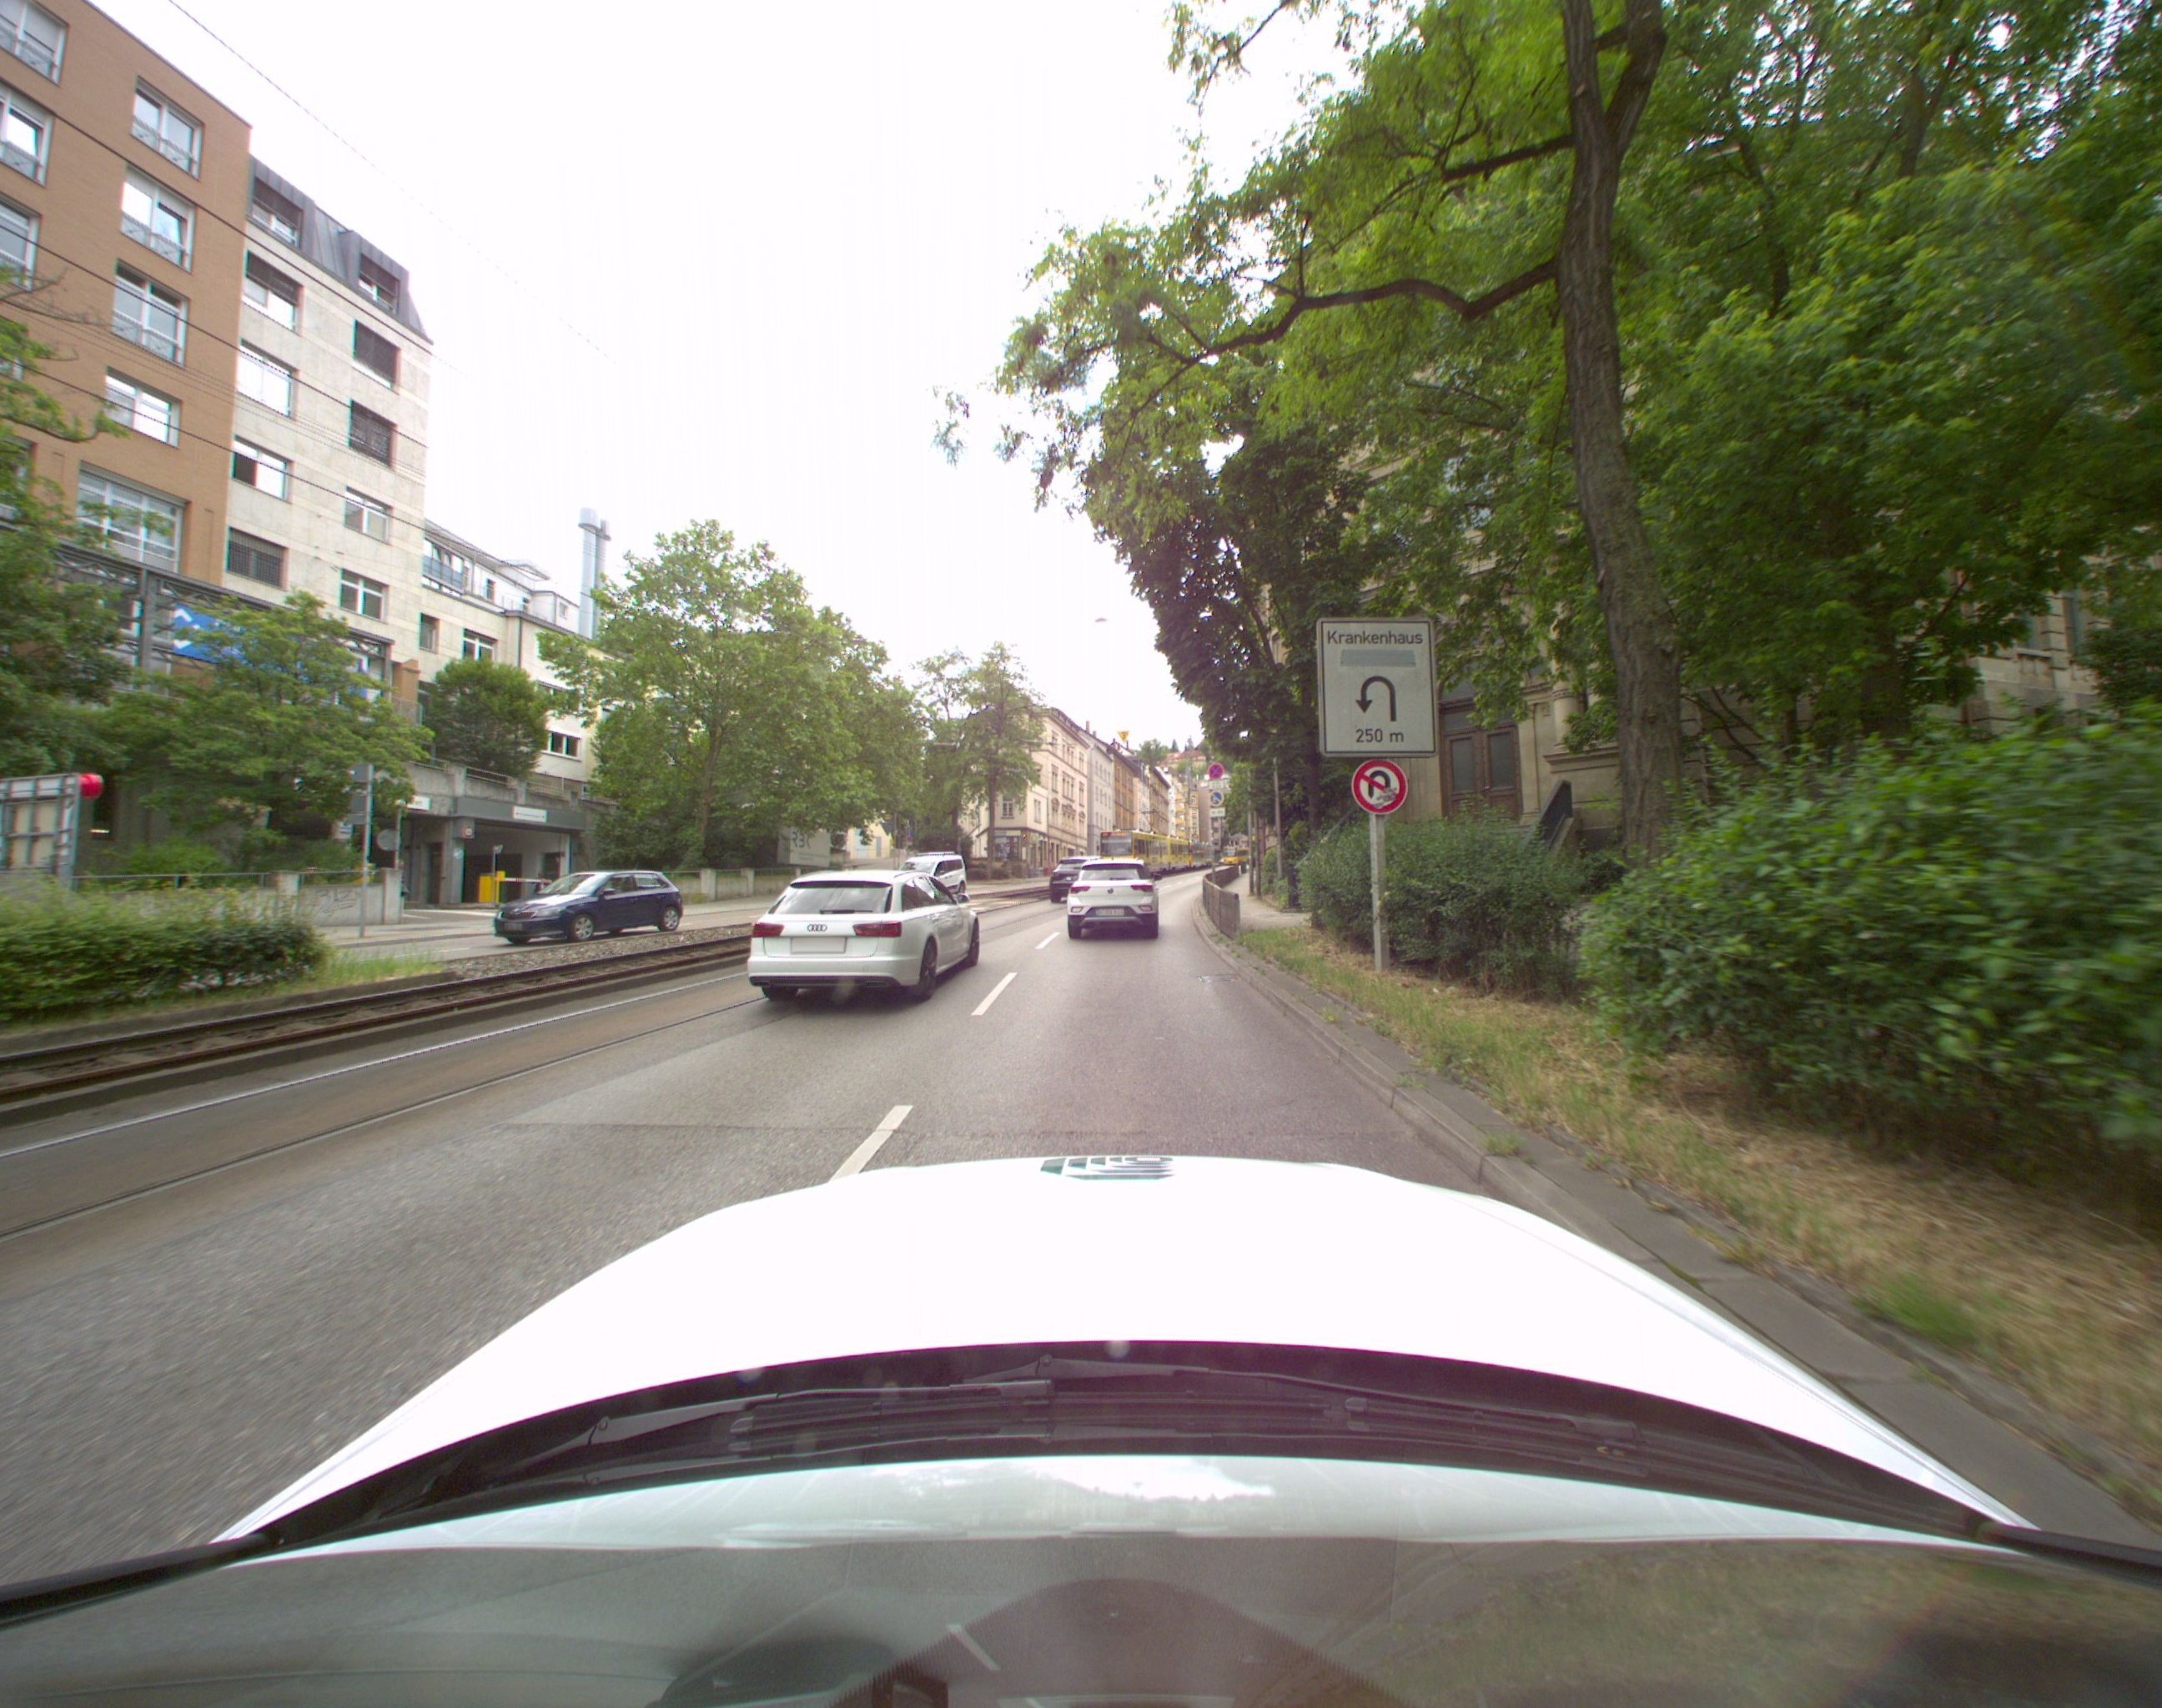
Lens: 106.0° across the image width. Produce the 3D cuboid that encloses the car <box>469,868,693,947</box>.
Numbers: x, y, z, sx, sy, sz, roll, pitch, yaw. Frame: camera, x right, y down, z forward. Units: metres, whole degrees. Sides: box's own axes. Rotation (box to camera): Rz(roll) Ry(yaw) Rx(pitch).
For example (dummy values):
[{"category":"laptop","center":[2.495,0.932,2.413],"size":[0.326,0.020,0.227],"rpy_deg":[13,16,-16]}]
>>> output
[{"category":"car","center":[-10.462,1.058,17.451],"size":[1.755,1.408,4.095],"rpy_deg":[-2,0,11]}]

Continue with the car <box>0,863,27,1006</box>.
[{"category":"car","center":[-12.170,0.847,6.795],"size":[1.647,1.443,3.754],"rpy_deg":[-2,0,14]}]

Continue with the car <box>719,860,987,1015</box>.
[{"category":"car","center":[-2.538,0.848,10.389],"size":[1.871,1.455,4.621],"rpy_deg":[-1,0,3]}]

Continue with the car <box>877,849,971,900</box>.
[{"category":"car","center":[-6.376,0.792,33.757],"size":[1.934,1.946,5.020],"rpy_deg":[-1,0,13]}]

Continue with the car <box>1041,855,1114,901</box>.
[{"category":"car","center":[-0.029,0.844,30.356],"size":[2.026,1.571,4.369],"rpy_deg":[-1,-1,9]}]

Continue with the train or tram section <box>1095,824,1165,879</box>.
[{"category":"train or tram section","center":[4.067,-0.116,62.885],"size":[2.862,3.726,14.909],"rpy_deg":[0,0,13]}]

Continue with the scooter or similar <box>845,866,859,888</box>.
[{"category":"scooter or similar","center":[-12.719,1.261,45.273],"size":[0.489,1.219,1.638],"rpy_deg":[1,-1,-6]}]

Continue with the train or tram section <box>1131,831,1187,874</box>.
[{"category":"train or tram section","center":[7.884,-0.106,79.260],"size":[2.856,3.726,18.768],"rpy_deg":[0,0,13]}]

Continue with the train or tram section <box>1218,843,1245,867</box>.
[{"category":"train or tram section","center":[28.488,0.287,153.304],"size":[2.994,4.214,18.938],"rpy_deg":[-1,-1,16]}]

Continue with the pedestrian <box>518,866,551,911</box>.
[{"category":"pedestrian","center":[-23.649,1.484,35.256],"size":[0.806,1.911,0.796],"rpy_deg":[-2,-1,14]}]

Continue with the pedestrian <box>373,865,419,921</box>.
[{"category":"pedestrian","center":[-19.576,1.104,23.287],"size":[0.724,1.560,0.658],"rpy_deg":[-2,-1,1]}]

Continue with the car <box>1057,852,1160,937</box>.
[{"category":"car","center":[0.703,0.773,17.227],"size":[1.869,1.554,4.006],"rpy_deg":[-1,-1,6]}]

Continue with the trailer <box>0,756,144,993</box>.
[{"category":"trailer","center":[-14.952,0.248,9.031],"size":[2.004,2.973,5.612],"rpy_deg":[0,0,15]}]

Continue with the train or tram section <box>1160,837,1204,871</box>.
[{"category":"train or tram section","center":[12.310,0.054,97.519],"size":[2.856,3.726,18.827],"rpy_deg":[0,0,14]}]

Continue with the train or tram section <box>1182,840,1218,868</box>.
[{"category":"train or tram section","center":[17.098,0.028,115.830],"size":[2.855,3.726,18.830],"rpy_deg":[0,0,15]}]
